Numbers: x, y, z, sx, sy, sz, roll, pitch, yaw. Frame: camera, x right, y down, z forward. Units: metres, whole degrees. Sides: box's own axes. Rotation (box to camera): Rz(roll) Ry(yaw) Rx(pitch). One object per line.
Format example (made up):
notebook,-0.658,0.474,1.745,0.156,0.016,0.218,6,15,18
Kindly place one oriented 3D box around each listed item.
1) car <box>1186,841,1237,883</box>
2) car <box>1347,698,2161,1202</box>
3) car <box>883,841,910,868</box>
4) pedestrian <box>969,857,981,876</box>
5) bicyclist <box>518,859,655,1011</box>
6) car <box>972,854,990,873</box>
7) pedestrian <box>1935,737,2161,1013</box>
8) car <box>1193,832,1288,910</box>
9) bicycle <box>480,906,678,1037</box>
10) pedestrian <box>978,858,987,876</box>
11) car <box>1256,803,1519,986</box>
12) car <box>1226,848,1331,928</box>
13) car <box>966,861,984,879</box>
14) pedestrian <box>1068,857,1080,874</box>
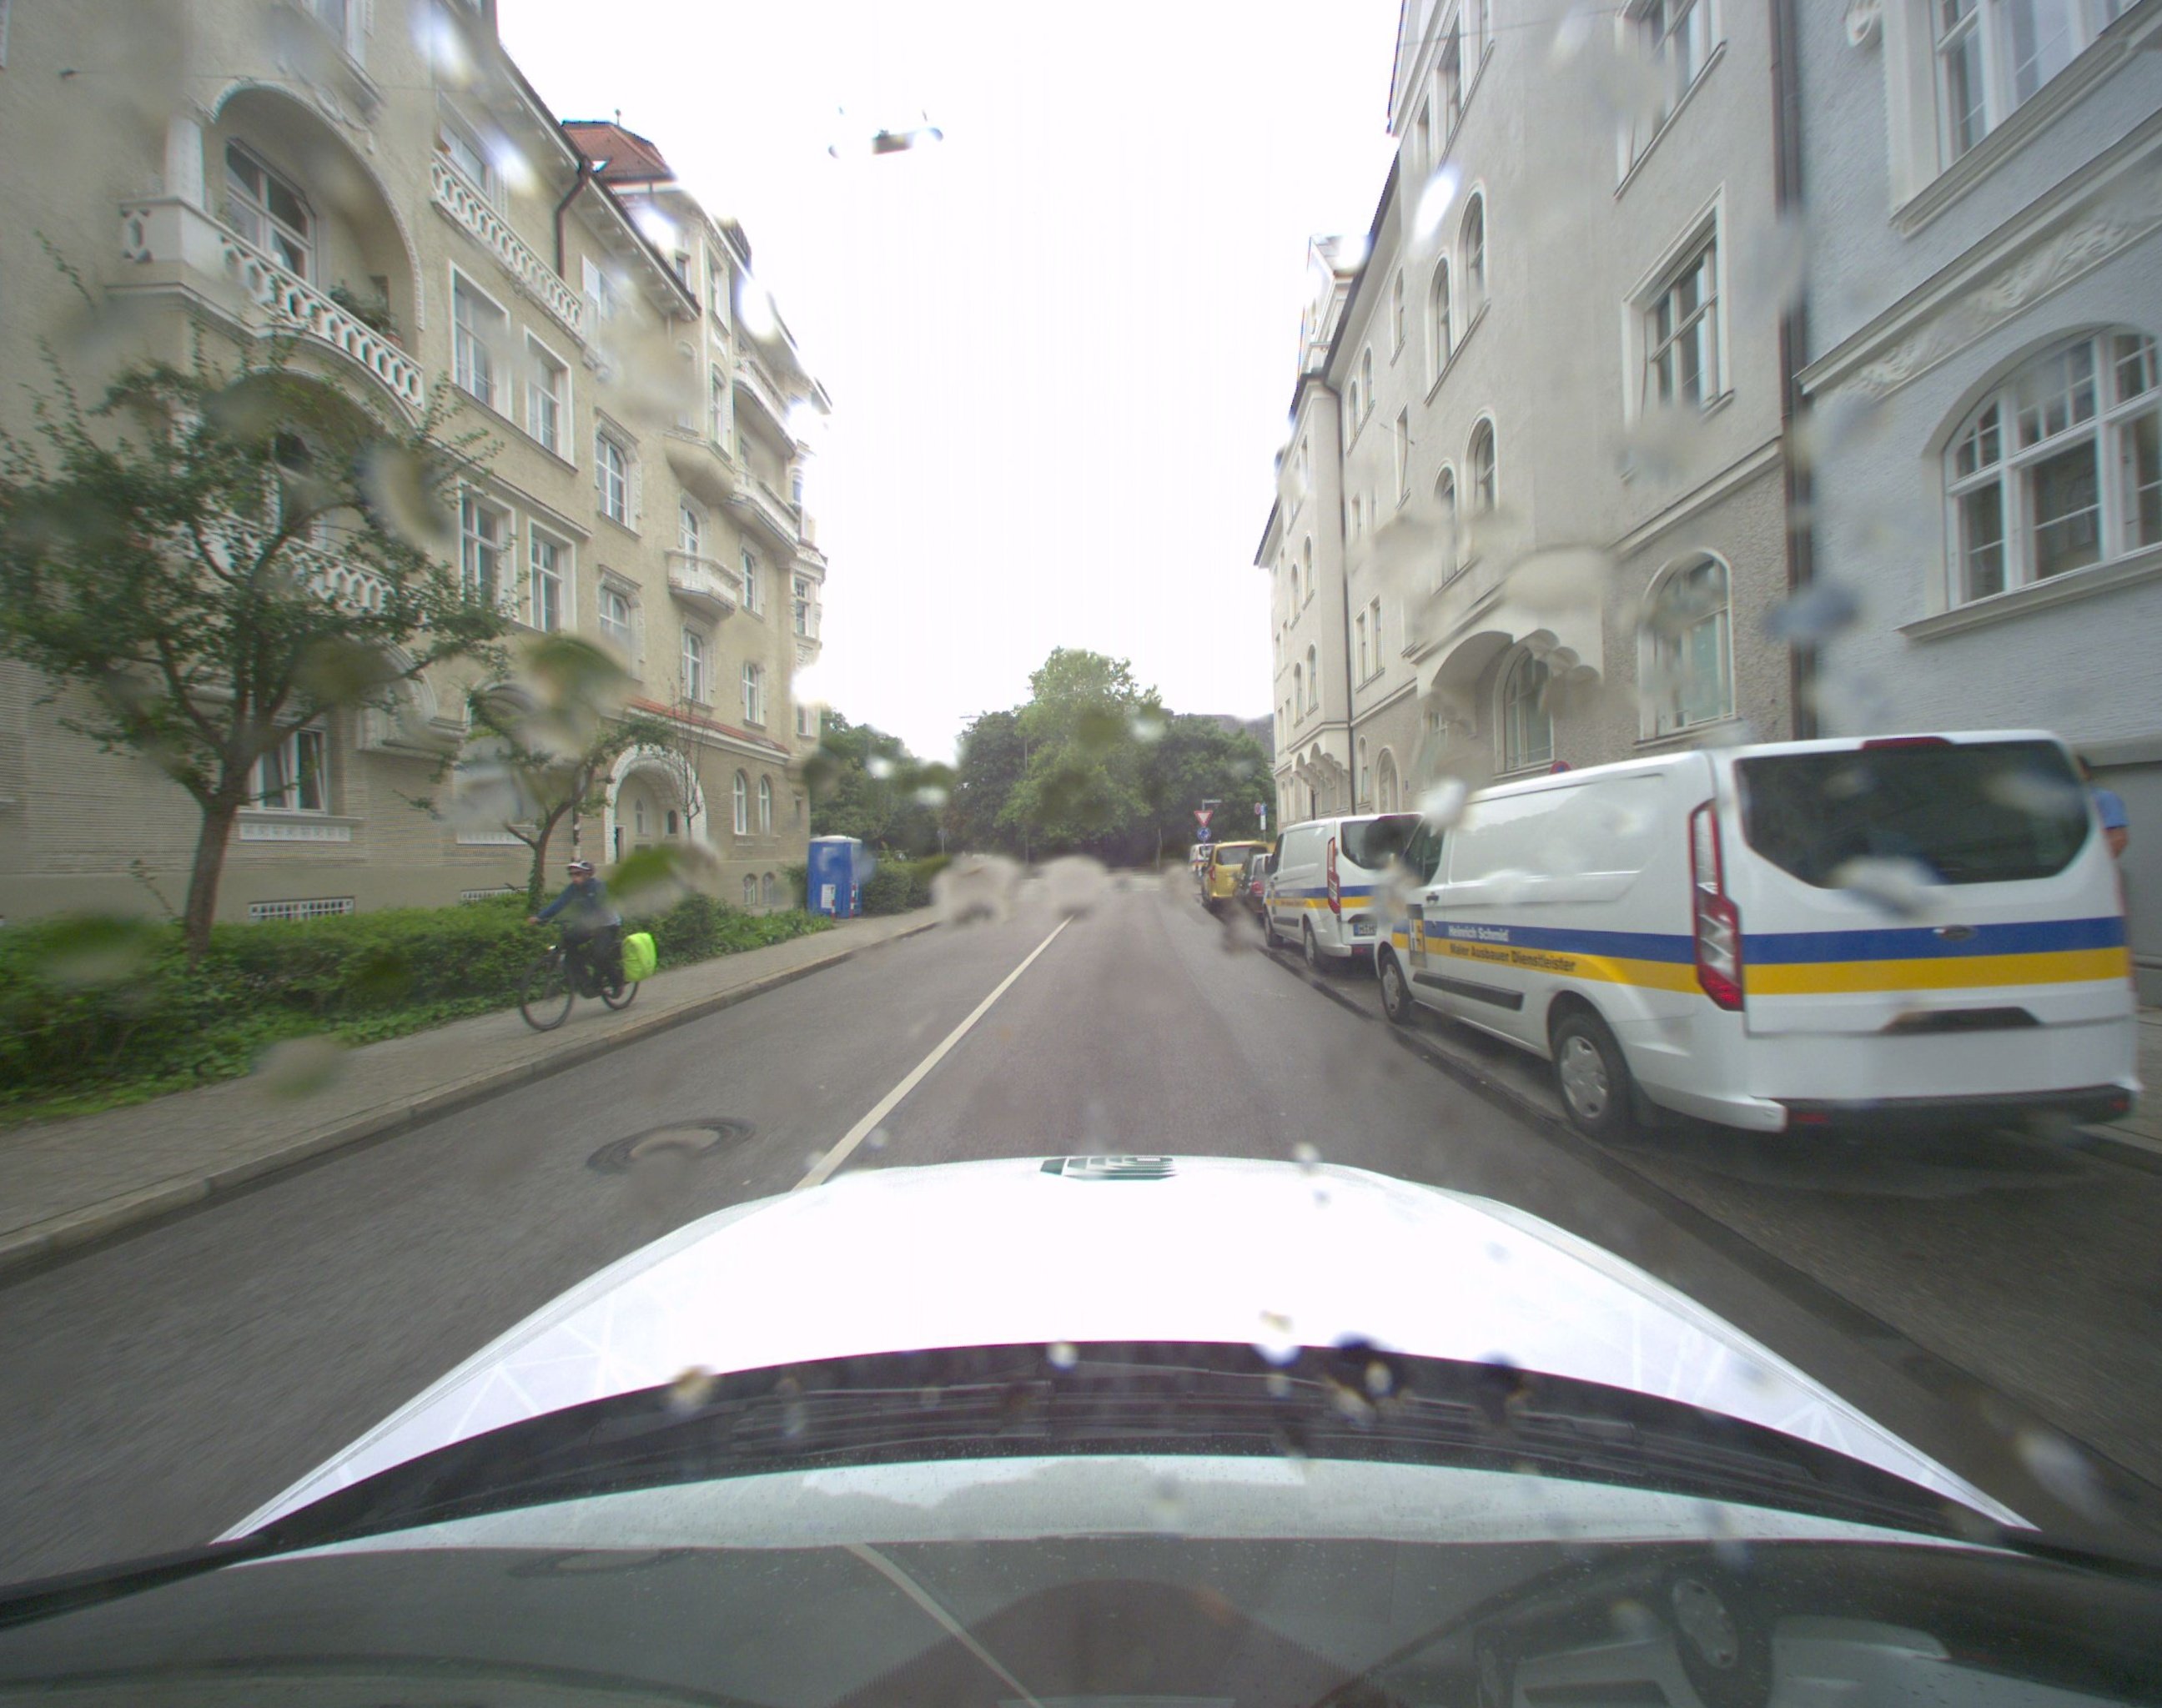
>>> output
car,6.479,0.376,41.095,1.930,1.922,5.379,-3,0,3
car,3.602,0.384,5.645,1.986,1.918,4.880,-2,0,2
car,-21.844,0.122,96.805,2.169,3.002,6.223,-2,0,-4
pedestrian,-10.238,1.193,78.500,0.825,1.836,0.943,-2,-1,-31
bicyclist,-5.158,0.798,8.562,0.765,1.492,1.061,0,0,2
car,-13.533,1.280,110.423,1.989,2.558,5.423,-2,0,-4
pedestrian,7.213,0.154,6.061,0.847,1.903,0.747,-2,-1,6
car,4.355,0.435,22.900,1.985,1.918,4.575,-2,0,4
bicycle,-5.162,1.159,8.581,0.765,1.081,2.051,0,0,2
pedestrian,-9.456,1.251,78.330,0.636,1.667,0.691,-2,-1,-26
car,3.867,0.451,11.337,1.985,1.918,4.890,-2,0,3
car,4.237,0.669,17.987,1.626,1.514,3.890,-2,0,5
car,-12.339,1.808,94.785,1.909,1.937,4.959,-2,0,-6
pedestrian,-0.550,0.915,64.450,0.765,1.356,1.133,-2,0,5
